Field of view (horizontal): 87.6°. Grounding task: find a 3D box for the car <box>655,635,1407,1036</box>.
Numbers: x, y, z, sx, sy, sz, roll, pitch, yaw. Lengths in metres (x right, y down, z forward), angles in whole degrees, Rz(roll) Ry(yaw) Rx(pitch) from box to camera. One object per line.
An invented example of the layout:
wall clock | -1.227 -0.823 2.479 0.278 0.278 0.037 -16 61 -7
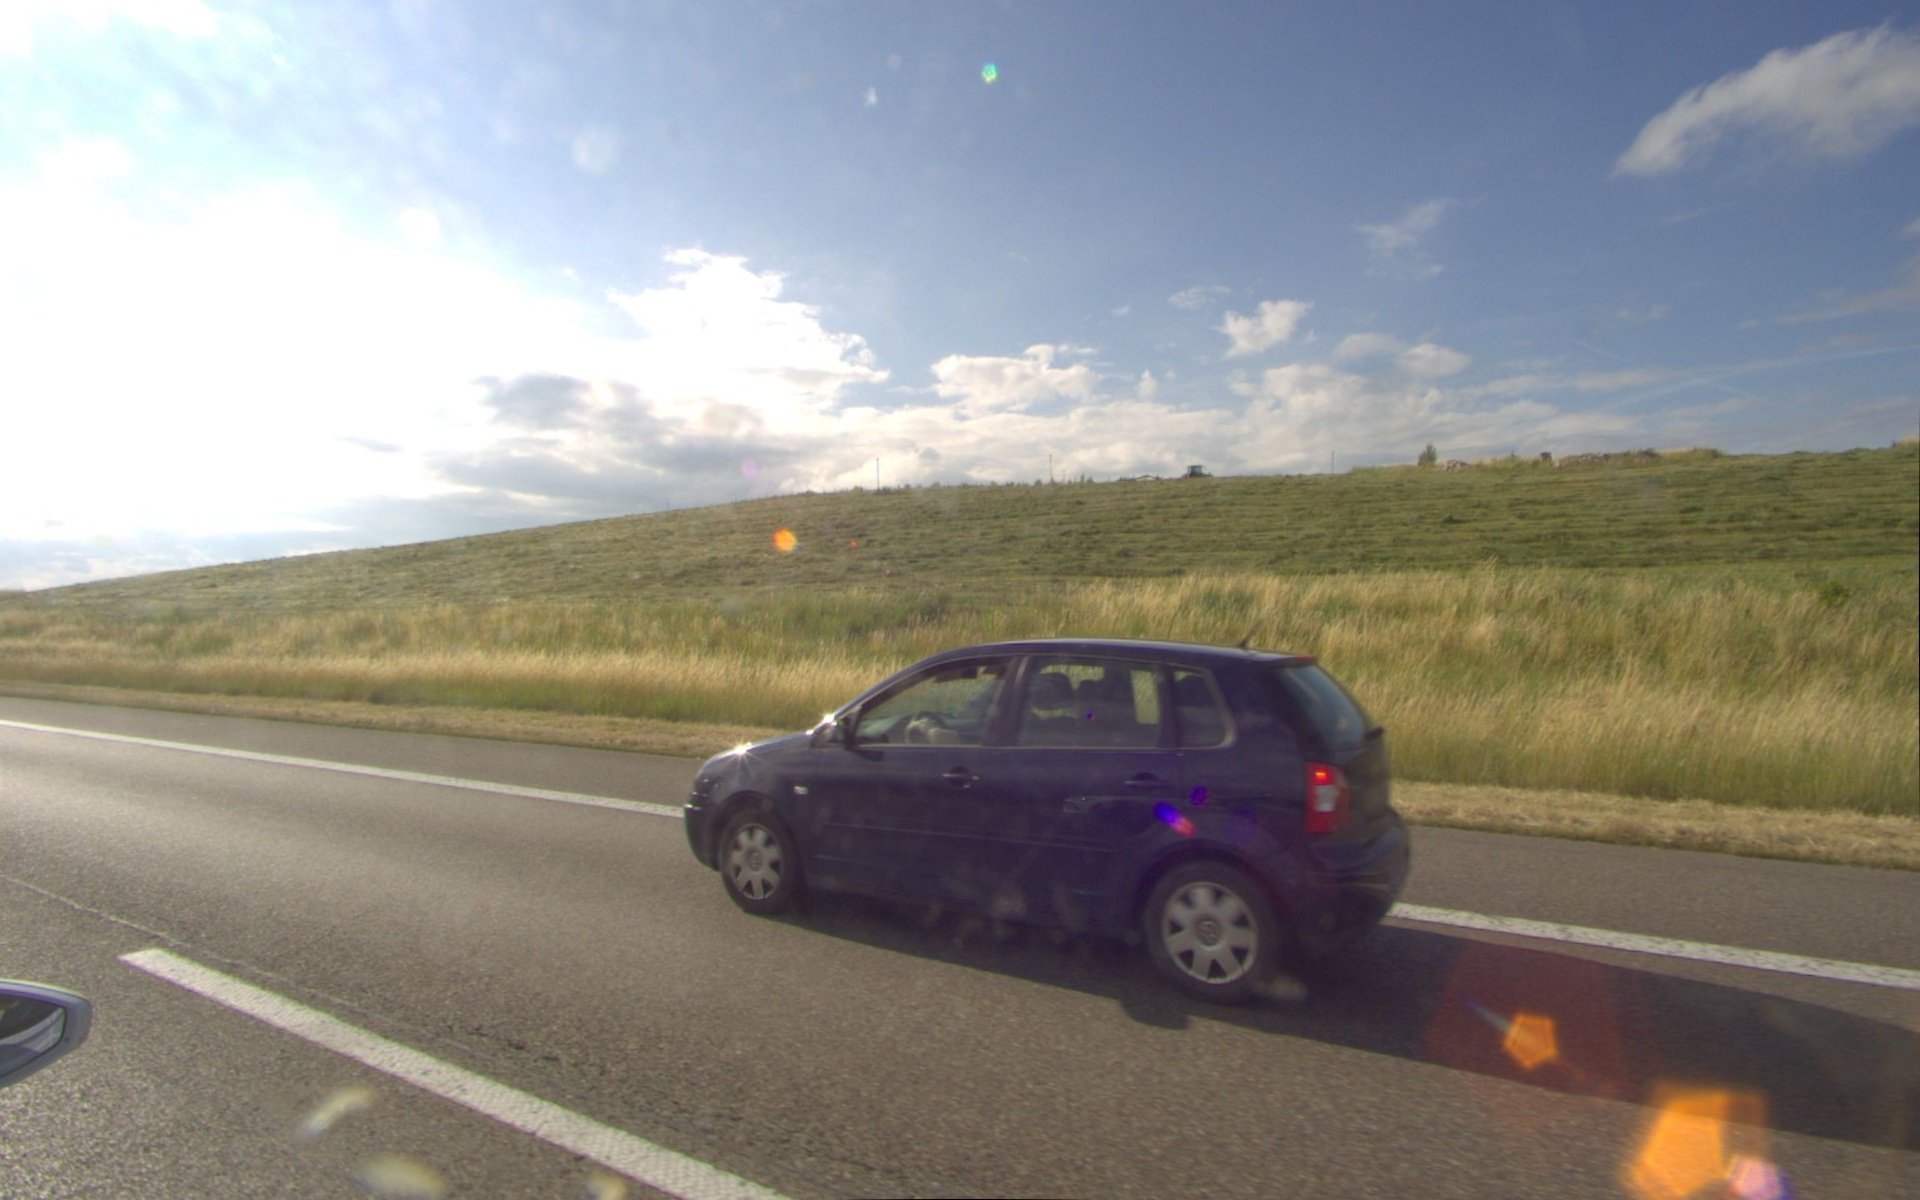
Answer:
car | 0.269 0.907 5.246 3.619 1.438 1.603 -1 -2 32
